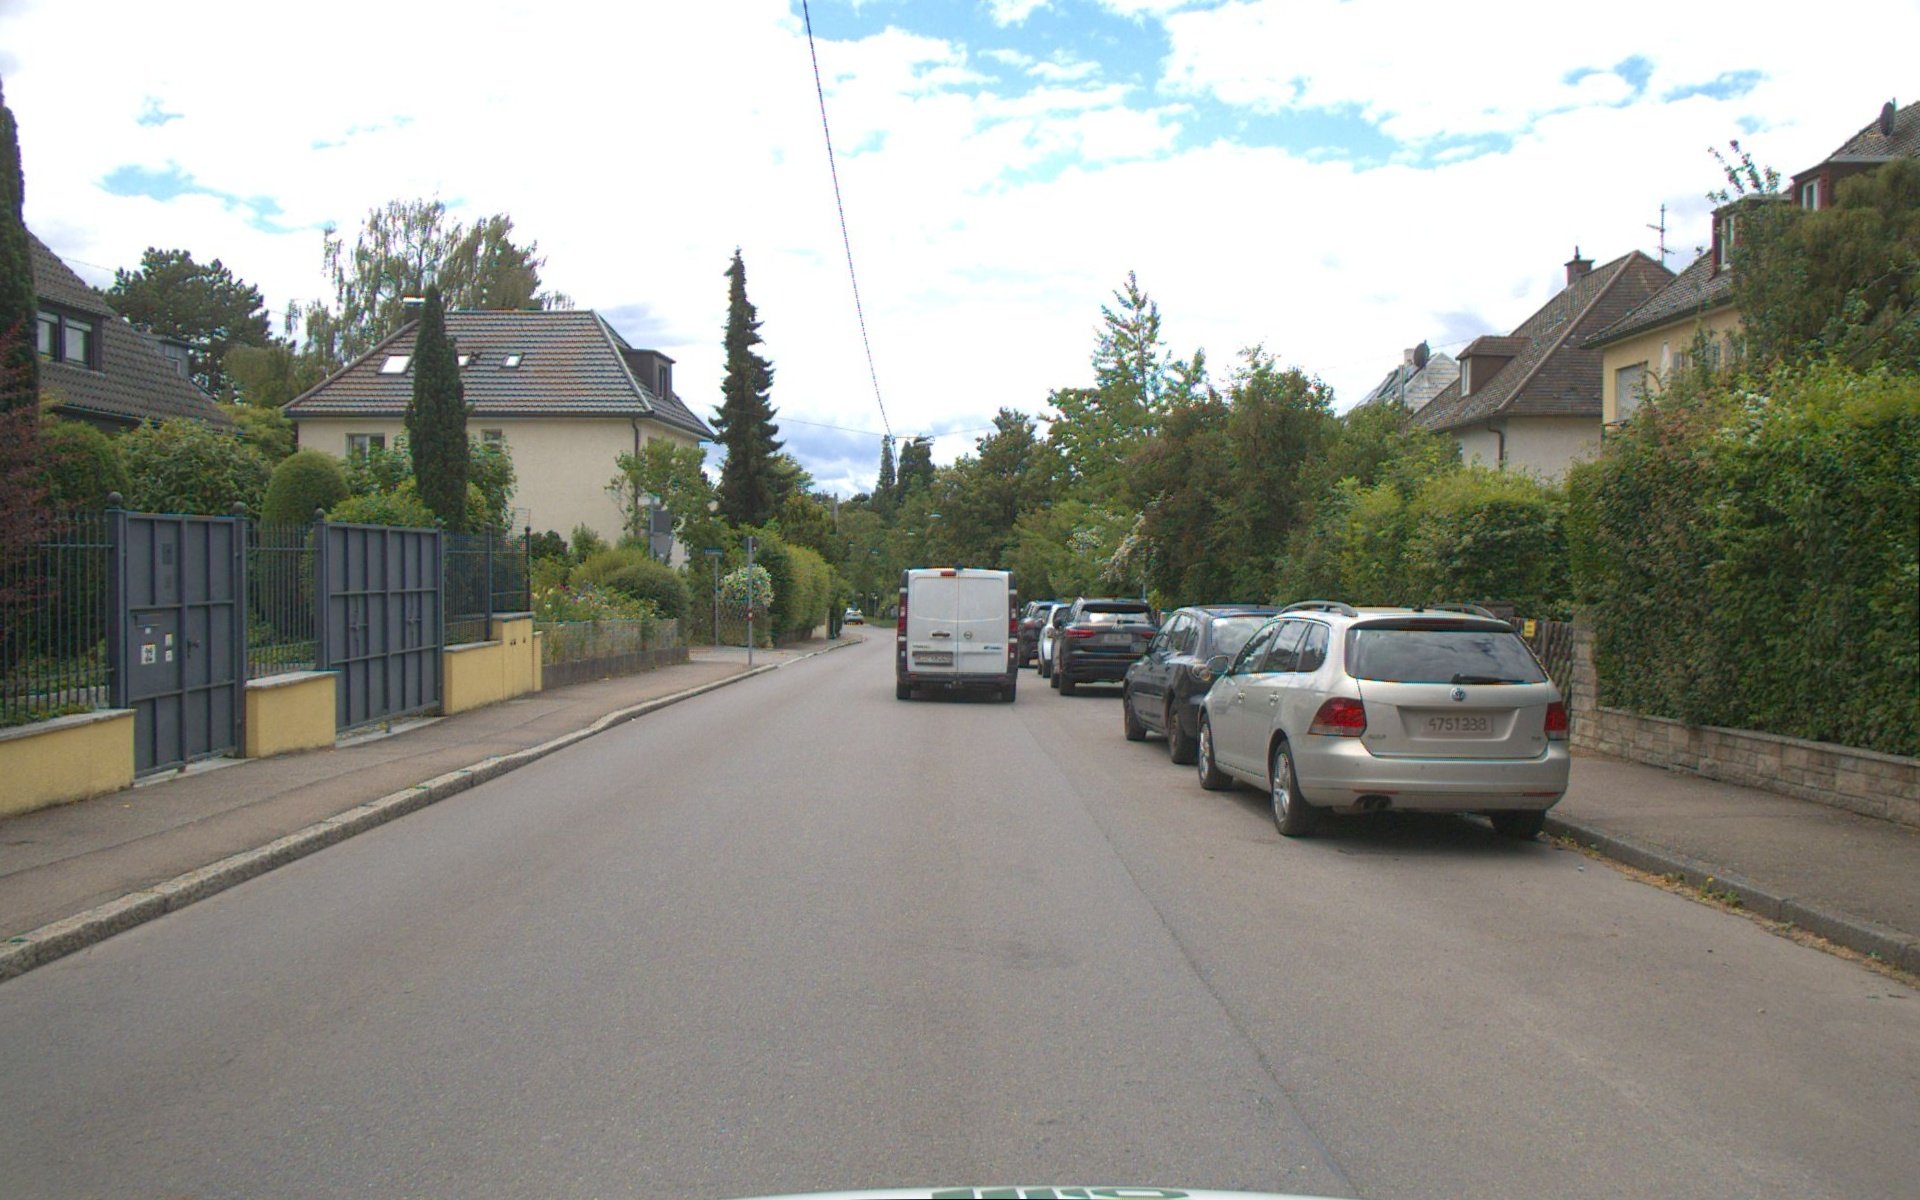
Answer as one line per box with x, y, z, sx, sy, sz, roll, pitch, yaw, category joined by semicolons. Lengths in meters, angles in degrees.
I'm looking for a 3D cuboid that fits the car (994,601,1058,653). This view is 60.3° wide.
2.195;0.922;56.068;1.813;1.655;4.167;2;-1;-2;car

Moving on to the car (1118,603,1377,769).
2.789;0.781;16.951;1.683;1.486;4.137;1;0;-4;car

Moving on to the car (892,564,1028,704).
-0.085;0.496;26.245;1.891;1.998;4.399;1;0;-3;car

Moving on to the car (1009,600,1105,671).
2.409;0.888;41.989;1.911;1.655;4.373;2;-1;-3;car

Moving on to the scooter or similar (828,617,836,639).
-6.974;1.531;90.286;0.384;1.192;1.269;1;-1;-2;scooter or similar

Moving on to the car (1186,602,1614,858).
2.901;0.771;11.936;1.721;1.503;4.355;1;0;-3;car

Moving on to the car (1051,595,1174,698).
2.545;0.762;28.447;1.764;1.620;4.141;0;-1;0;car

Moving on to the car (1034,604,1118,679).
2.471;0.874;35.719;1.566;1.537;3.012;0;-1;-1;car
